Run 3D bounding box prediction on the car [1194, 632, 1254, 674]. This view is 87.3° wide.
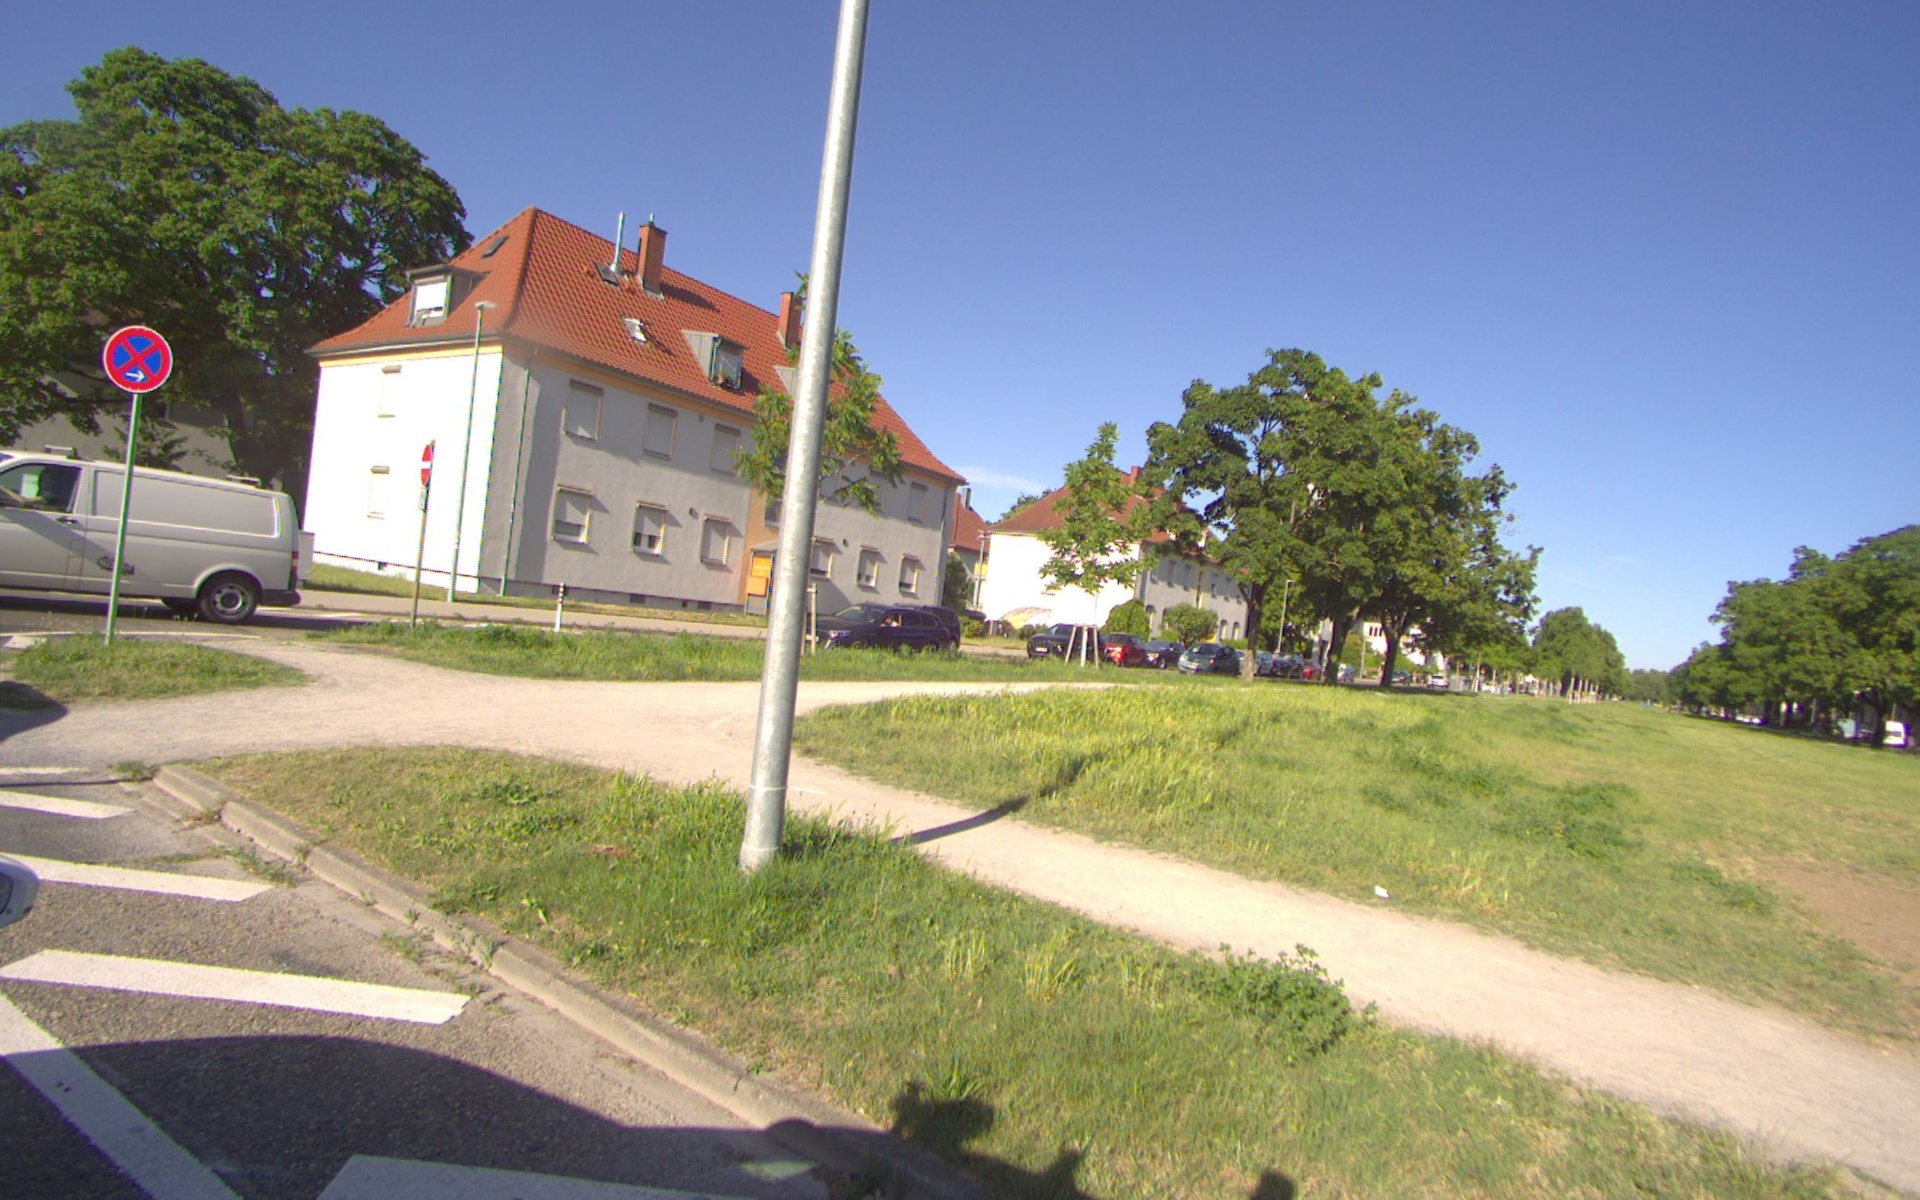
[{"bbox_3d":[15.204,3.061,57.800,1.842,2.038,4.244,7,0,35],"label":"car"}]

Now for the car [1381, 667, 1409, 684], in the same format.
[{"bbox_3d":[42.993,7.464,99.392,1.694,1.358,3.798,7,0,35],"label":"car"}]

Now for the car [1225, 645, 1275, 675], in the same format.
[{"bbox_3d":[17.861,3.713,61.906,1.694,1.517,3.798,7,0,35],"label":"car"}]

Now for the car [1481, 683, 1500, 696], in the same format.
[{"bbox_3d":[68.441,11.552,129.748,1.694,1.358,3.798,7,0,35],"label":"car"}]

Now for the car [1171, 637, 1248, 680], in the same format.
[{"bbox_3d":[11.532,2.709,46.320,1.859,1.628,4.235,7,0,35],"label":"car"}]

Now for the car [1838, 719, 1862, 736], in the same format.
[{"bbox_3d":[118.556,16.949,134.012,1.837,1.868,3.982,7,0,36],"label":"car"}]

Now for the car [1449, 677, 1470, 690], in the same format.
[{"bbox_3d":[65.018,10.894,130.915,1.694,1.358,3.798,7,0,35],"label":"car"}]

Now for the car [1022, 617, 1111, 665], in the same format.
[{"bbox_3d":[4.450,1.717,41.512,1.694,1.602,4.128,7,0,35],"label":"car"}]

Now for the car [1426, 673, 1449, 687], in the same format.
[{"bbox_3d":[56.120,9.441,118.134,1.694,1.358,3.798,7,0,35],"label":"car"}]

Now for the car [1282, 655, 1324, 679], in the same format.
[{"bbox_3d":[24.429,4.785,71.526,1.694,1.358,3.798,7,0,35],"label":"car"}]

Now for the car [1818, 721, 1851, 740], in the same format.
[{"bbox_3d":[92.232,13.755,106.171,2.049,1.484,4.713,7,0,36],"label":"car"}]

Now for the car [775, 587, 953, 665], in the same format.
[{"bbox_3d":[-2.389,0.739,26.281,1.968,1.543,4.744,7,0,33],"label":"car"}]

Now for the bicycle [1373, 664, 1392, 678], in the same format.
[{"bbox_3d":[34.866,5.882,83.018,1.036,0.949,2.759,7,0,30],"label":"bicycle"}]

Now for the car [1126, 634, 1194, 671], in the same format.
[{"bbox_3d":[10.028,2.649,50.145,1.694,1.459,4.128,7,0,35],"label":"car"}]

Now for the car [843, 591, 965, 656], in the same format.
[{"bbox_3d":[-1.744,0.808,32.767,1.694,1.684,4.052,7,0,35],"label":"car"}]

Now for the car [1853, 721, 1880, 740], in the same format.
[{"bbox_3d":[109.900,15.790,121.959,1.837,1.868,3.982,7,0,36],"label":"car"}]

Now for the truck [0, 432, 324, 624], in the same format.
[{"bbox_3d":[-11.578,-0.968,13.278,1.968,2.061,4.861,8,0,34],"label":"truck"}]

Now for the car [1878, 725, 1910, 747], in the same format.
[{"bbox_3d":[102.869,14.964,110.835,1.837,1.868,3.982,8,0,36],"label":"car"}]

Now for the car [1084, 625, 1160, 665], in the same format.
[{"bbox_3d":[7.499,2.109,46.324,1.694,1.459,4.128,7,0,35],"label":"car"}]

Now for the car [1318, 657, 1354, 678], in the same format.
[{"bbox_3d":[30.241,5.460,80.881,1.694,1.358,3.798,7,0,35],"label":"car"}]

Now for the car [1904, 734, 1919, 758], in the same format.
[{"bbox_3d":[66.788,10.155,69.096,2.049,1.484,4.713,7,0,36],"label":"car"}]

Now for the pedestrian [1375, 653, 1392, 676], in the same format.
[{"bbox_3d":[34.946,5.310,83.021,1.036,1.730,0.692,7,1,30],"label":"pedestrian"}]

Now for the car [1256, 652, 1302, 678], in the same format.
[{"bbox_3d":[21.083,4.311,66.460,1.694,1.358,3.798,7,0,35],"label":"car"}]
